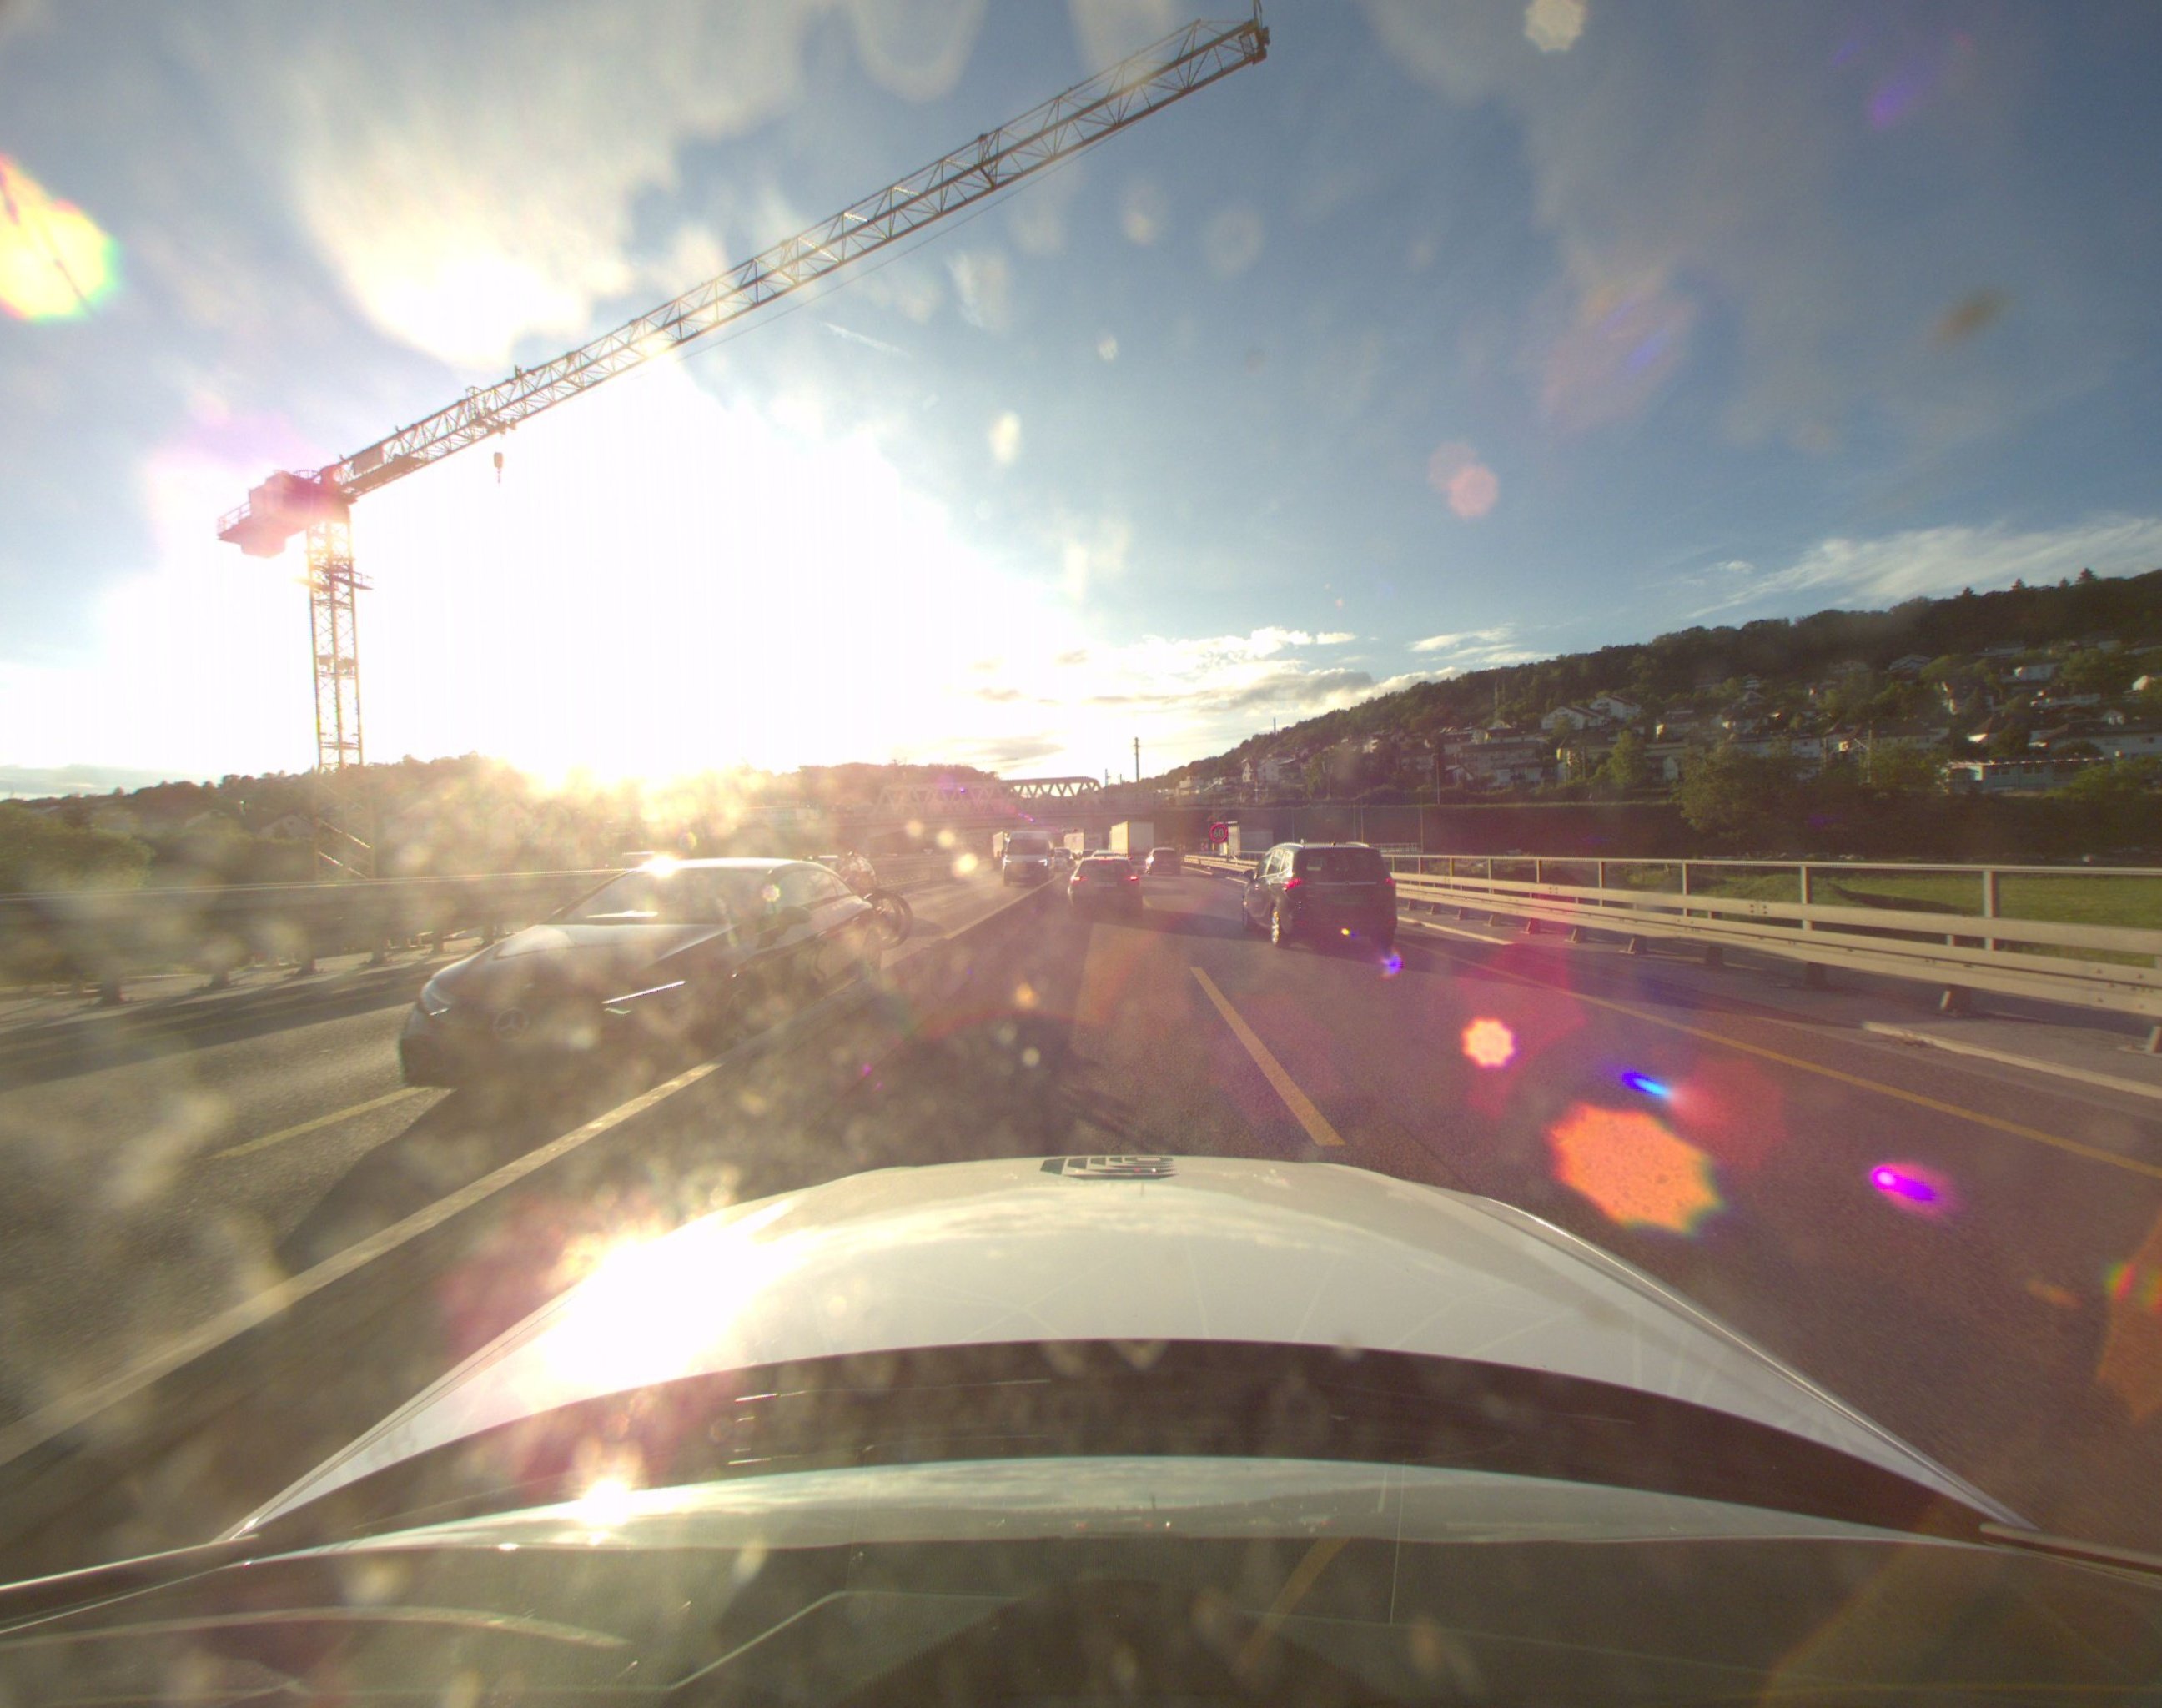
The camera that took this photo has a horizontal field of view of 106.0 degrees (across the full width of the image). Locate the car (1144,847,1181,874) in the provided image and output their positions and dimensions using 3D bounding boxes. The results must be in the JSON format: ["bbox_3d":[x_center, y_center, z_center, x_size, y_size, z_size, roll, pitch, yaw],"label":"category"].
[{"bbox_3d":[4.893,0.396,49.249,1.764,1.552,3.999,1,0,-1],"label":"car"}]

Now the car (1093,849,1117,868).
[{"bbox_3d":[1.931,0.339,67.056,1.760,1.486,3.998,1,0,-1],"label":"car"}]

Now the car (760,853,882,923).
[{"bbox_3d":[-6.422,0.771,20.570,1.610,1.552,4.090,-1,0,2],"label":"car"}]

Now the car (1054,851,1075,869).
[{"bbox_3d":[-1.459,0.548,72.792,1.787,1.540,4.365,-1,0,-1],"label":"car"}]

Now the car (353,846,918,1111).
[{"bbox_3d":[-3.171,0.723,7.626,1.986,1.530,5.783,0,0,1],"label":"car"}]

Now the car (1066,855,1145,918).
[{"bbox_3d":[0.579,0.721,20.108,1.764,1.390,4.000,0,0,1],"label":"car"}]

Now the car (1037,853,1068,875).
[{"bbox_3d":[-2.037,0.707,59.440,1.915,1.497,4.369,-1,0,2],"label":"car"}]

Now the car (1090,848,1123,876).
[{"bbox_3d":[1.393,0.423,45.962,1.759,1.486,4.000,1,0,0],"label":"car"}]

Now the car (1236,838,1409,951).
[{"bbox_3d":[3.936,0.588,14.060,1.807,1.632,4.413,0,0,2],"label":"car"}]

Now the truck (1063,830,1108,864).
[{"bbox_3d":[0.430,-0.914,114.169,3.889,4.498,15.219,0,0,-9],"label":"truck"}]

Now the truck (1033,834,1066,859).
[{"bbox_3d":[-5.893,-1.478,150.025,3.893,4.498,13.794,0,1,-11],"label":"truck"}]

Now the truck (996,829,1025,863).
[{"bbox_3d":[-8.623,-0.944,98.613,2.930,3.890,10.232,0,0,-9],"label":"truck"}]

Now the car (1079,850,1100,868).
[{"bbox_3d":[0.865,0.504,84.825,1.696,1.732,3.992,0,0,-6],"label":"car"}]

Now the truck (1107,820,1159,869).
[{"bbox_3d":[4.992,-0.890,82.183,3.379,4.498,15.245,0,0,-4],"label":"truck"}]

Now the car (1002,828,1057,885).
[{"bbox_3d":[-2.308,0.110,38.423,2.066,2.458,6.268,0,0,1],"label":"car"}]
